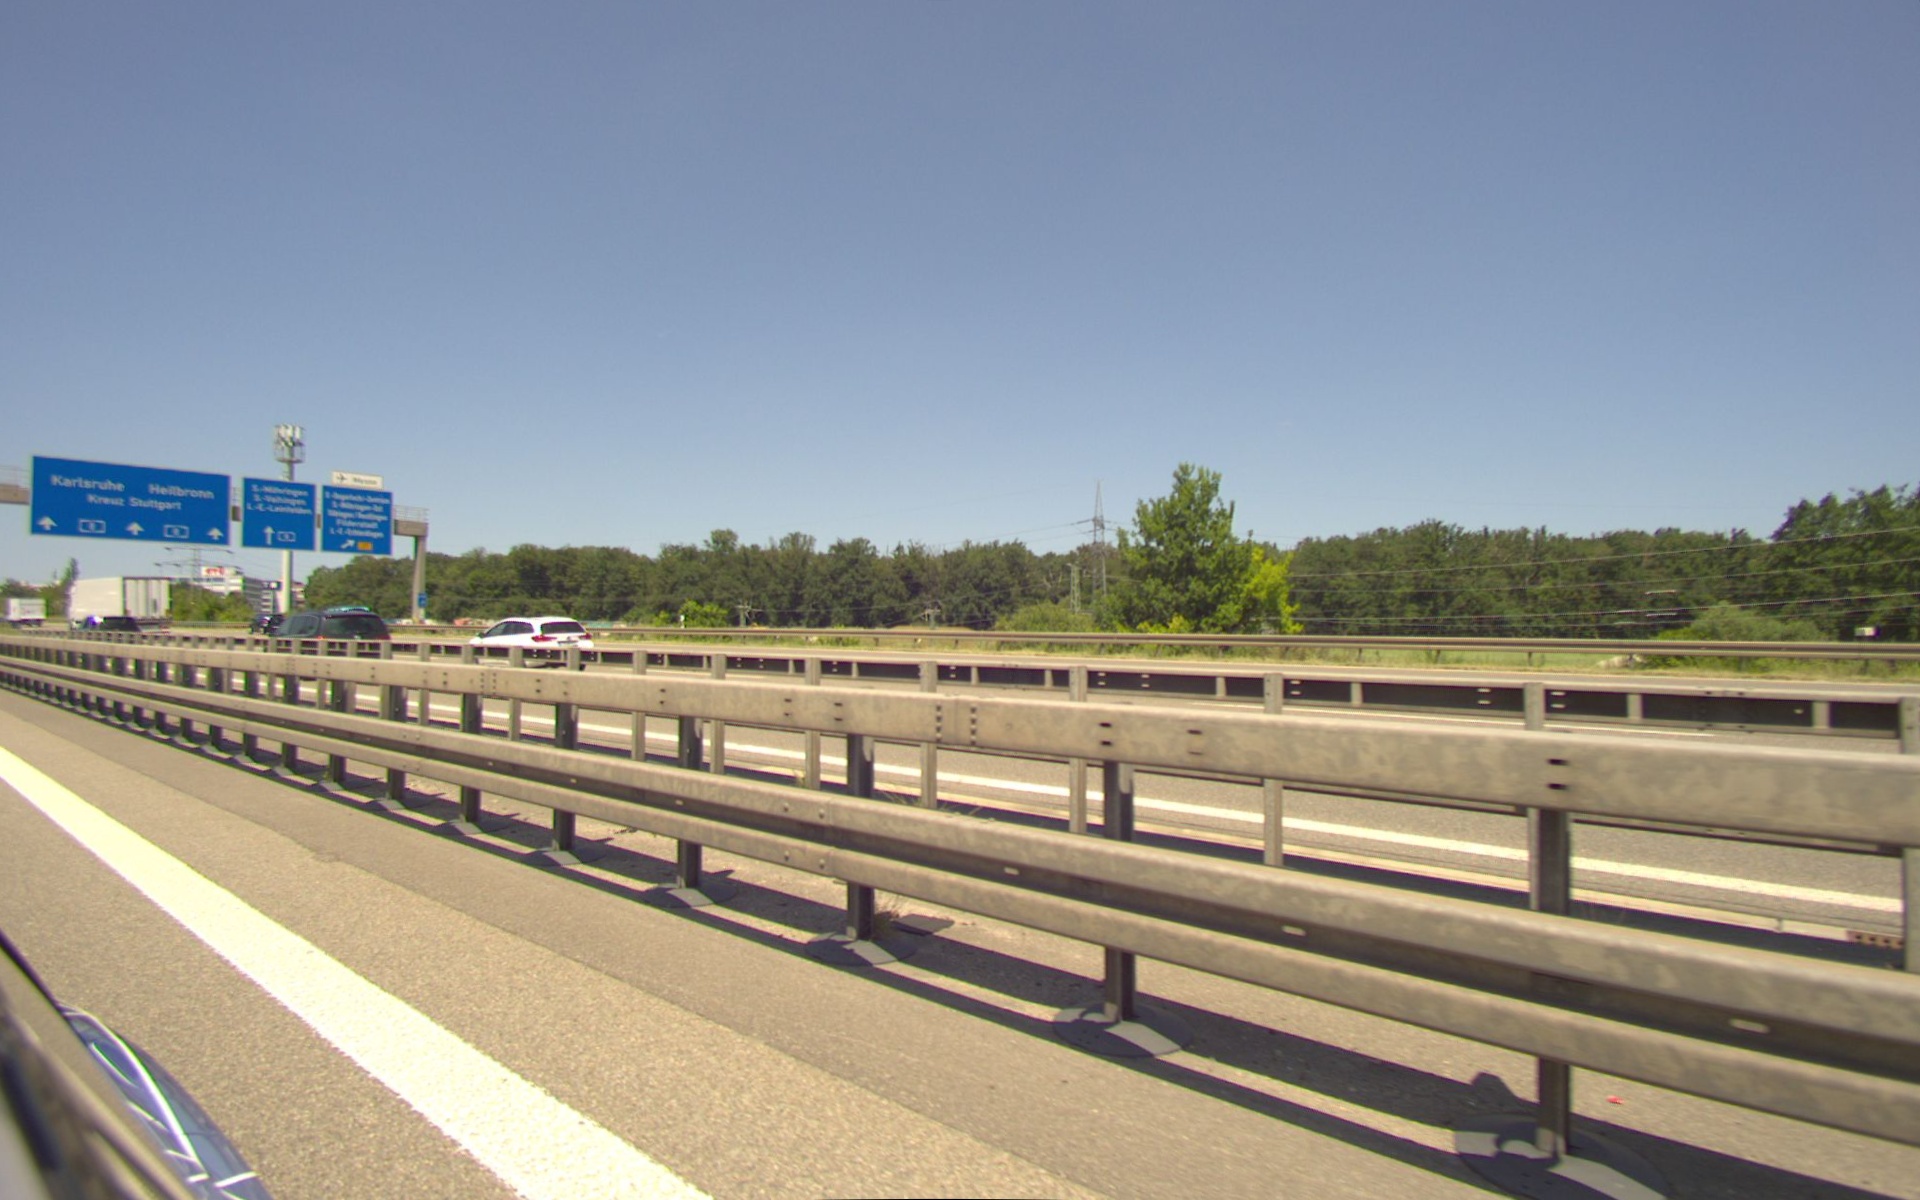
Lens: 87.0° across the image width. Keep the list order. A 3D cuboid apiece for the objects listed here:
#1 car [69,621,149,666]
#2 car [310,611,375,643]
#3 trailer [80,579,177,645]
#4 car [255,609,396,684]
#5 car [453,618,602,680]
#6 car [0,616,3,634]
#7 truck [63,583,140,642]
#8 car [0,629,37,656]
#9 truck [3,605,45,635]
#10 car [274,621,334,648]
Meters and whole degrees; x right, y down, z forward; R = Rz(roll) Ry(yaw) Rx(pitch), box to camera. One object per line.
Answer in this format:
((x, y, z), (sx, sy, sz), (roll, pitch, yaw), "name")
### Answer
((-34.591, 1.725, 41.079), (4.694, 1.681, 1.738), (-1, -1, 40), "car")
((-39.194, 1.728, 64.176), (5.158, 1.929, 1.995), (-1, -1, 40), "car")
((-57.891, 0.821, 70.287), (11.400, 4.224, 3.190), (-1, 0, 40), "trailer")
((-16.282, 1.147, 25.873), (4.718, 1.754, 1.738), (-2, -1, 40), "car")
((-11.454, 1.241, 26.636), (4.631, 1.492, 1.738), (-1, -1, 40), "car")
((-82.690, 2.129, 85.714), (5.096, 1.520, 1.725), (-1, -1, 39), "car")
((-64.127, 0.965, 75.548), (7.687, 4.241, 3.215), (-1, -1, 40), "truck")
((-54.062, 2.389, 57.491), (4.993, 1.471, 1.823), (-1, -1, 40), "car")
((-101.527, 2.161, 109.701), (8.104, 3.191, 2.297), (-1, -1, 40), "truck")
((-37.567, 1.952, 57.919), (4.452, 1.436, 1.678), (-2, -1, 40), "car")
